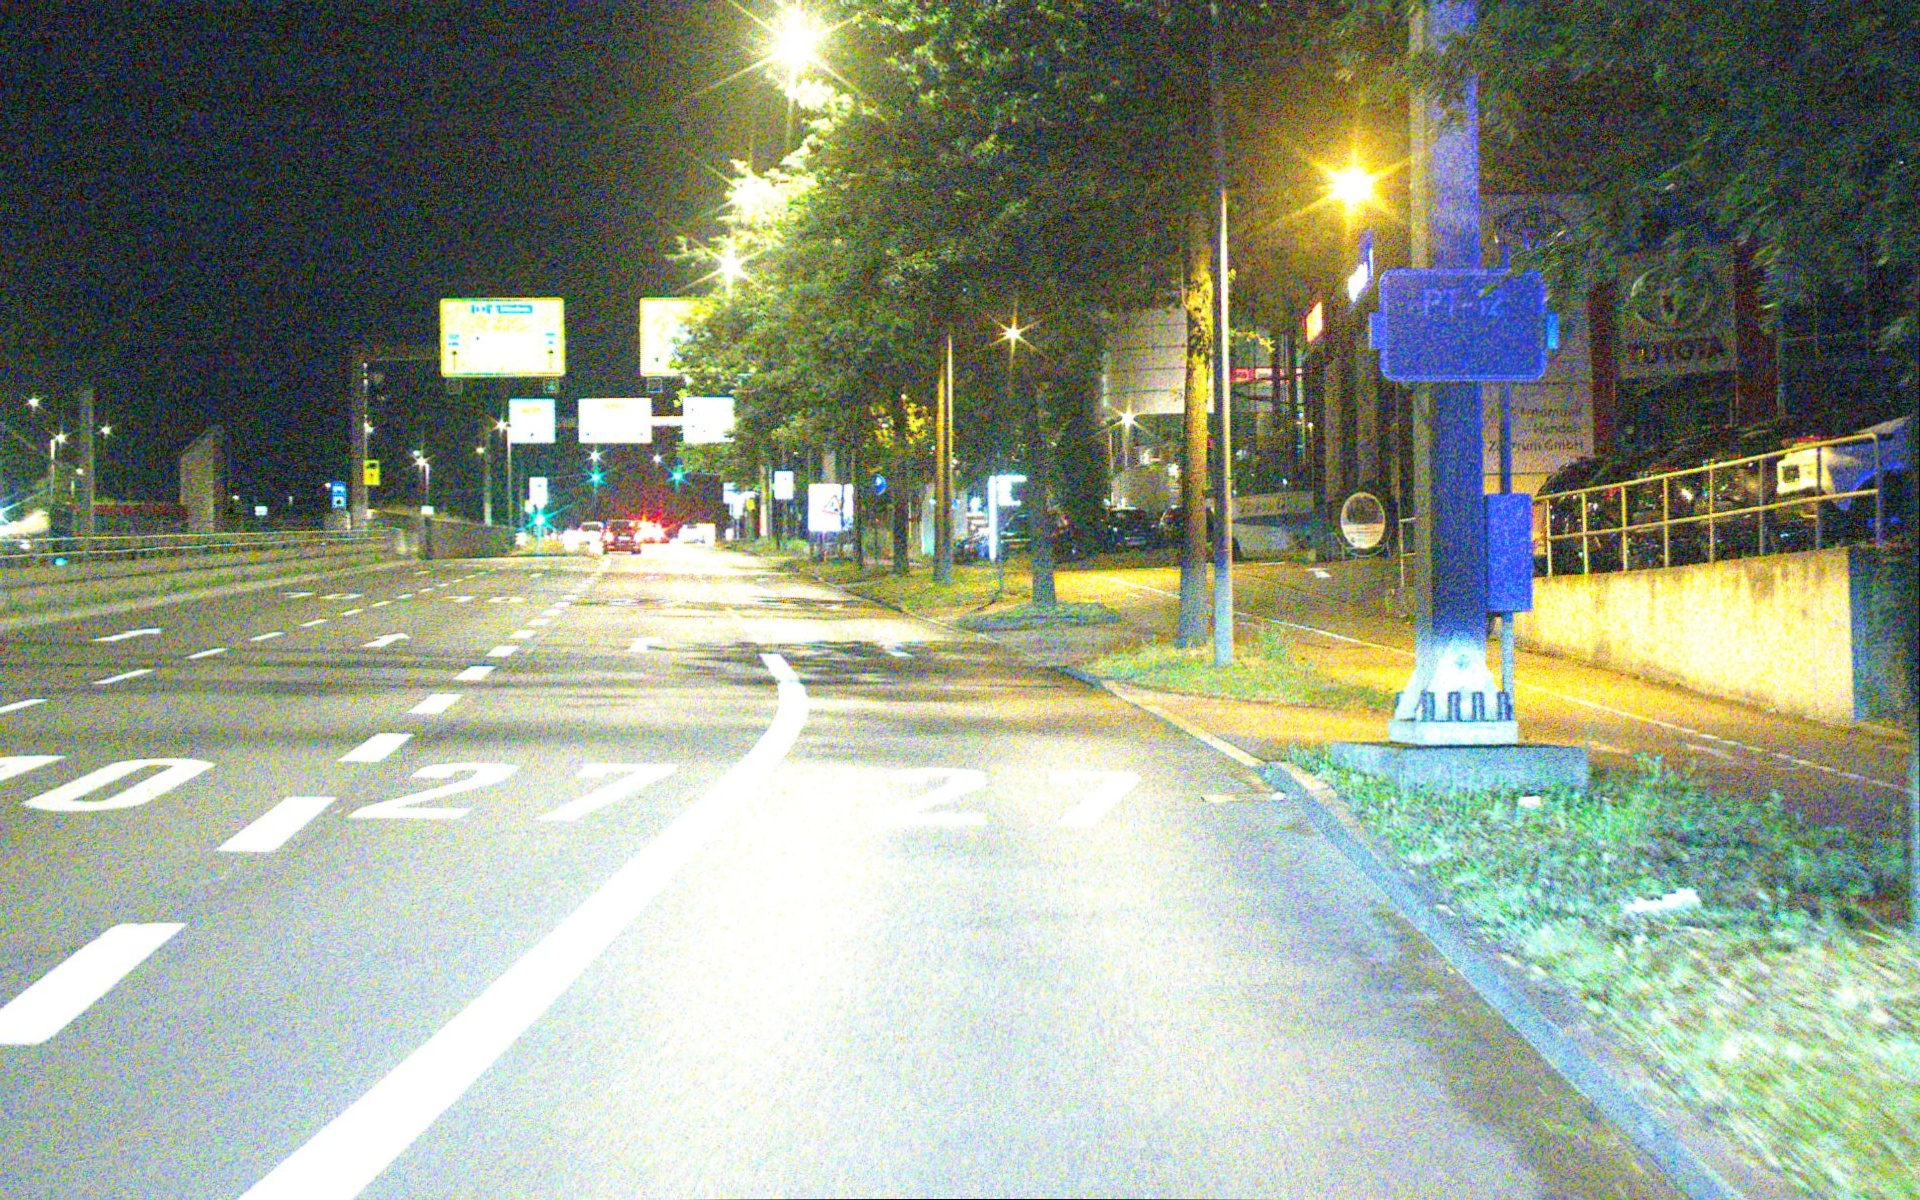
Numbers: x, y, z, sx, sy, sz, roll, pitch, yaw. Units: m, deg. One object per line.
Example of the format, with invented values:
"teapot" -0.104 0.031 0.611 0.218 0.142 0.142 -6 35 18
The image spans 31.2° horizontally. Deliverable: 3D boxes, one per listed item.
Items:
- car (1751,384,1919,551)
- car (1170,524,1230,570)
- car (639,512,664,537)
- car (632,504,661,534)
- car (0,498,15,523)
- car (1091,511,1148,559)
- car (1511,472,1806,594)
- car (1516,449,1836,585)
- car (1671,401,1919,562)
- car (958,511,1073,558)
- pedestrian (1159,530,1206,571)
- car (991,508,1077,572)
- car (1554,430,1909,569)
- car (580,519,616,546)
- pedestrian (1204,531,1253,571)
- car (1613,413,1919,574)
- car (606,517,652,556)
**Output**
"car" 10.117 -1.324 33.911 4.119 1.517 1.822 -2 -1 -3
"car" 8.347 -1.834 119.778 1.892 1.506 3.636 1 0 2
"car" -22.815 -5.590 253.899 1.780 1.722 4.001 1 0 -5
"car" -22.617 -5.828 247.858 1.993 2.007 4.001 1 0 -5
"car" -61.355 -5.683 218.794 1.625 1.476 3.679 1 0 -4
"car" 5.462 -2.213 118.261 1.892 1.506 3.636 1 0 2
"car" 9.597 -0.926 47.163 3.831 1.485 1.740 -2 -1 -35
"car" 9.103 -1.042 43.855 3.561 1.564 1.727 -2 0 -9
"car" 9.745 -1.265 36.371 3.986 1.566 1.738 -2 0 -3
"car" 1.879 -2.214 116.375 3.623 1.446 1.708 1 -1 -8
"pedestrian" 5.776 -1.278 89.252 0.912 1.035 0.770 0 0 39
"car" 2.410 -1.921 111.404 1.995 1.938 3.997 1 0 12
"car" 9.189 -1.192 41.115 3.724 1.484 1.742 -2 0 -6
"car" -22.956 -4.279 218.215 2.004 1.546 4.295 1 0 -3
"pedestrian" 6.974 -1.261 89.293 0.997 1.004 0.772 2 -1 -20
"car" 9.467 -1.200 38.657 3.746 1.582 1.781 -3 -1 -6
"car" -15.719 -3.028 163.365 1.968 1.705 4.000 1 0 -3
